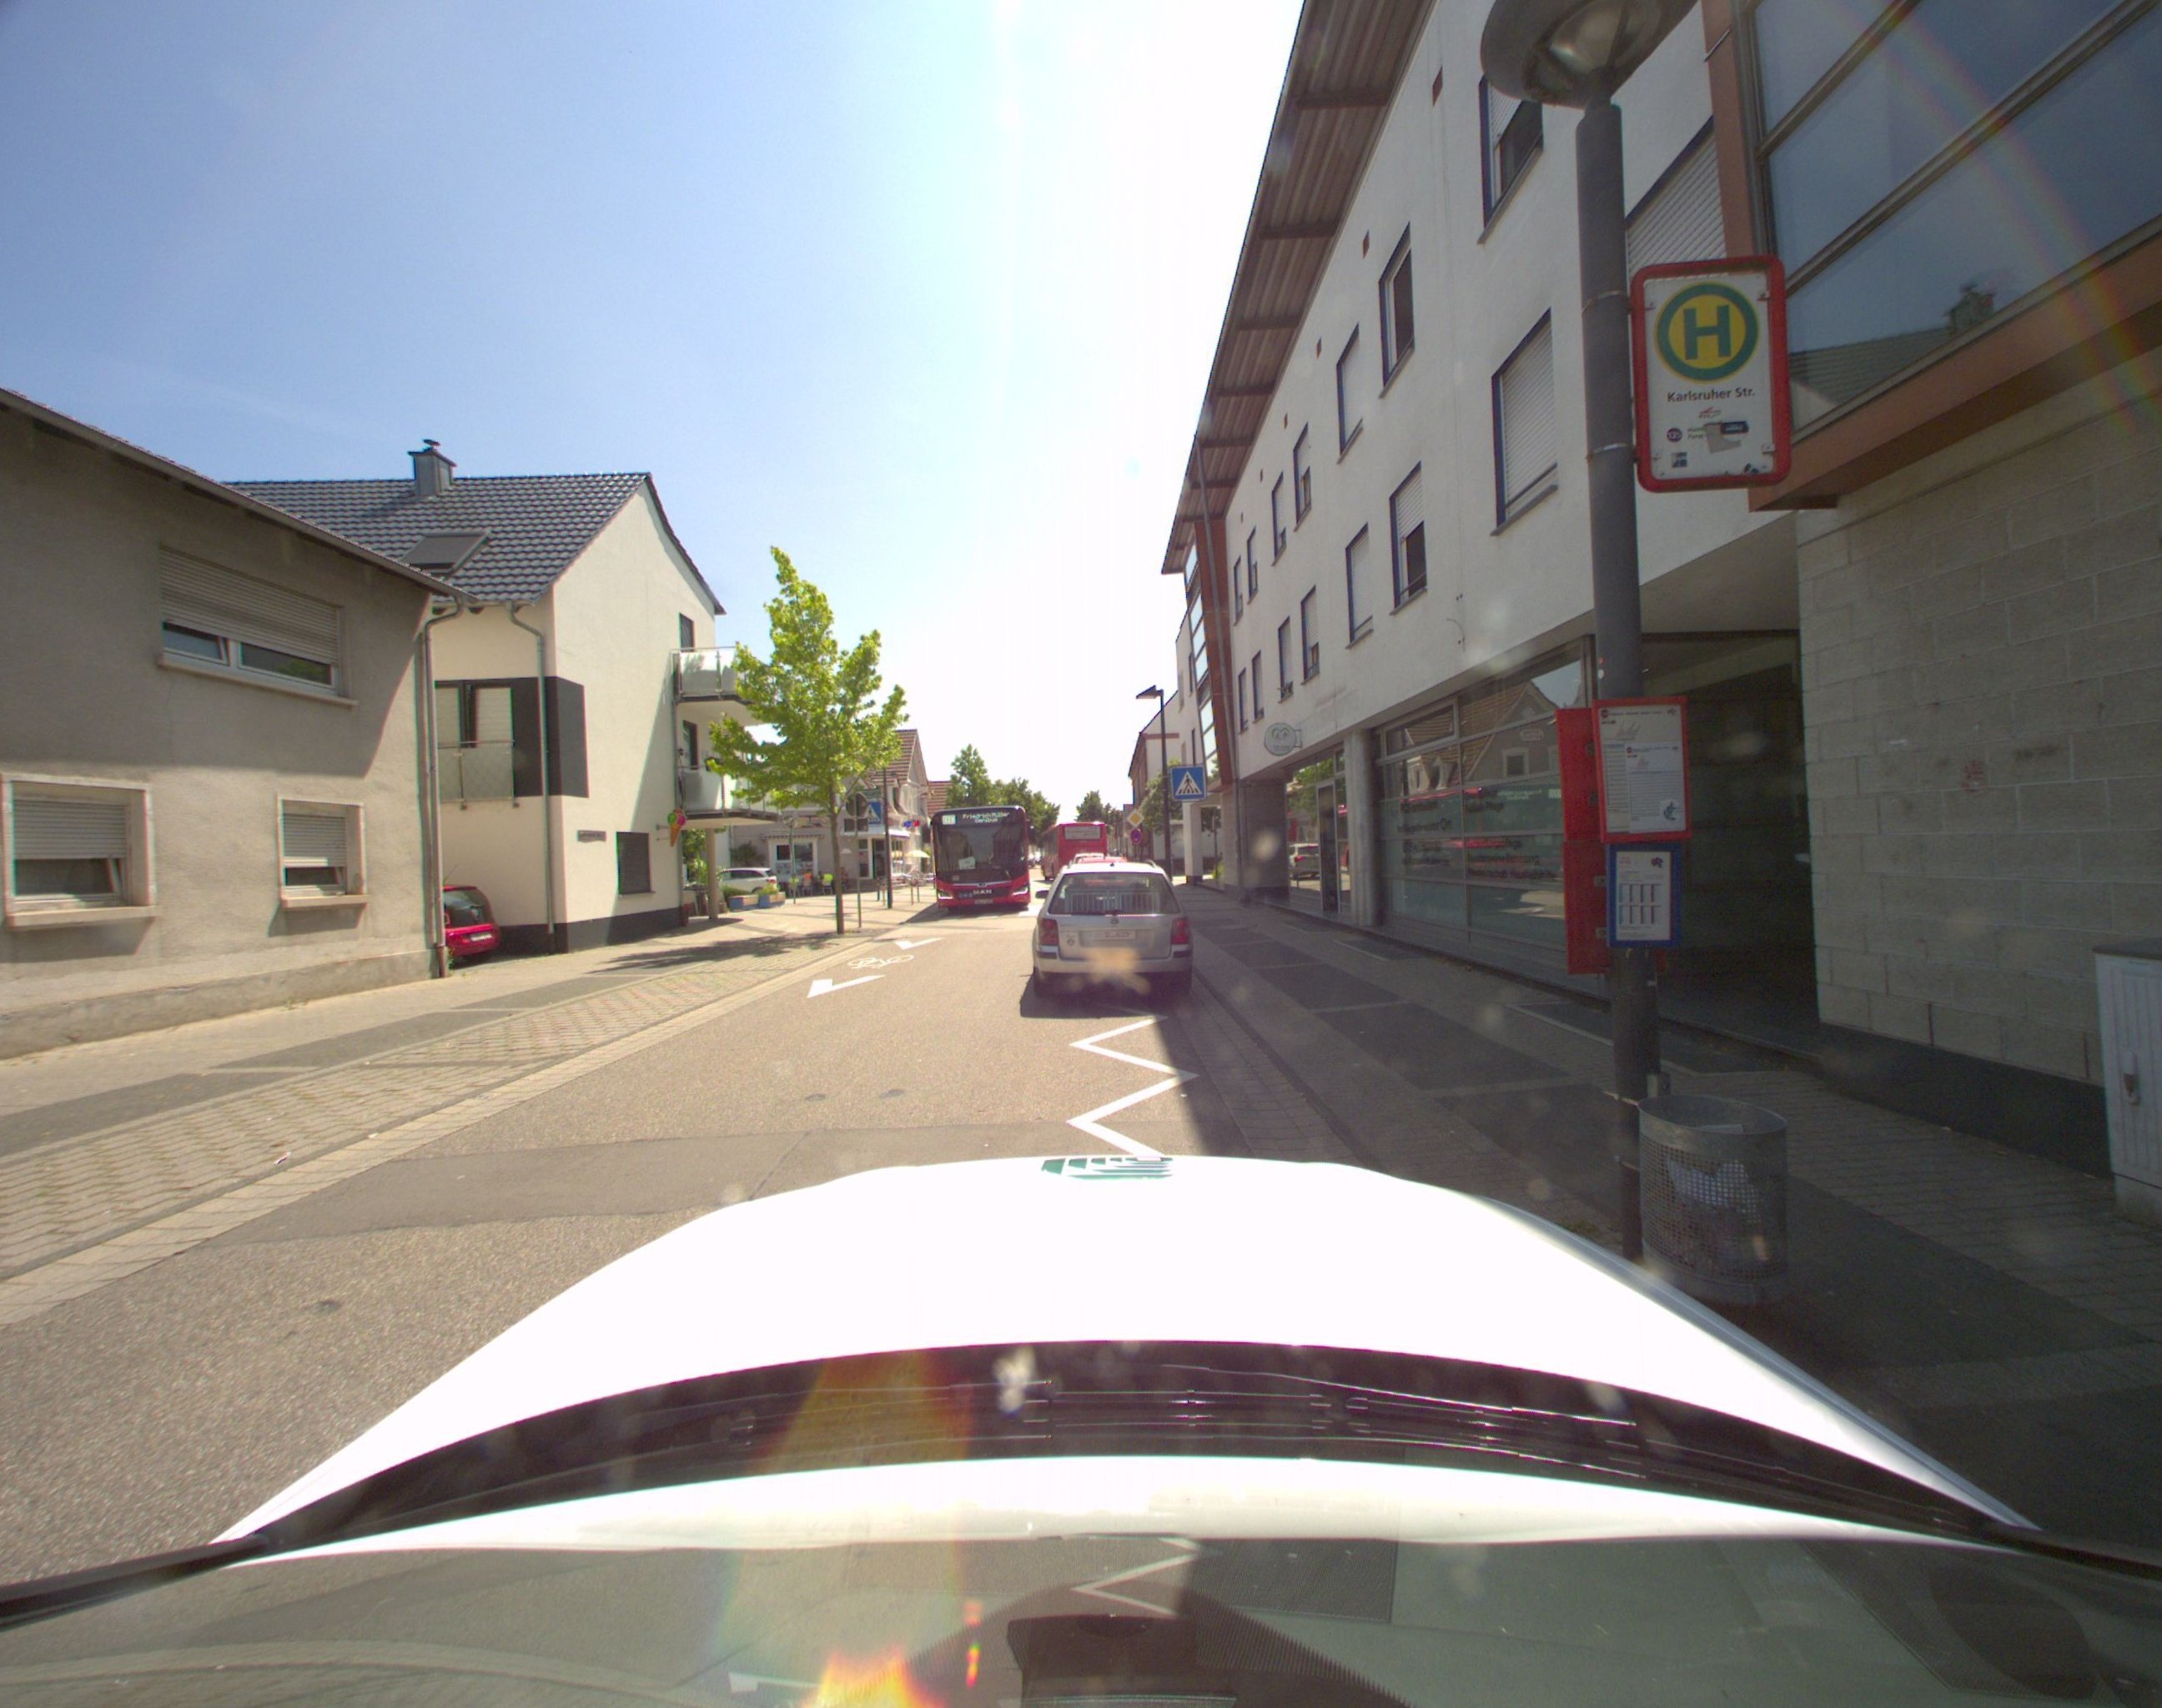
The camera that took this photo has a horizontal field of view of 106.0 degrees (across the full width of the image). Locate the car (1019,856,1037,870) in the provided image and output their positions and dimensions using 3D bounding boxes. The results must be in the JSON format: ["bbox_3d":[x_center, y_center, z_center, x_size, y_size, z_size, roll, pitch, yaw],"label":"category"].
[{"bbox_3d":[-6.309,1.071,97.399,1.806,1.559,3.999,-2,0,0],"label":"car"}]

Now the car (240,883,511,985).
[{"bbox_3d":[-11.982,1.318,14.007,3.109,1.443,1.584,-3,0,-6],"label":"car"}]

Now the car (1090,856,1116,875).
[{"bbox_3d":[1.603,0.813,59.727,1.714,1.309,3.625,-2,0,0],"label":"car"}]

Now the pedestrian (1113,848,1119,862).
[{"bbox_3d":[4.378,0.142,102.385,0.604,1.667,0.789,-2,0,-2],"label":"pedestrian"}]

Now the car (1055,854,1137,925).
[{"bbox_3d":[0.331,0.759,19.101,1.671,1.430,3.679,-2,0,0],"label":"car"}]

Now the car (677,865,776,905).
[{"bbox_3d":[-16.172,1.387,37.297,3.925,1.545,1.510,-3,2,-17],"label":"car"}]

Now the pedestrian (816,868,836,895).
[{"bbox_3d":[-12.415,1.354,39.689,0.639,1.289,0.780,1,-1,-43],"label":"pedestrian"}]

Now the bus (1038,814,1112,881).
[{"bbox_3d":[-0.627,-0.273,46.787,2.738,3.298,12.672,-2,0,-7],"label":"bus"}]

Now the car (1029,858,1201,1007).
[{"bbox_3d":[0.343,0.775,9.762,1.671,1.430,3.679,0,0,0],"label":"car"}]

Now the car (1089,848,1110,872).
[{"bbox_3d":[1.707,0.520,75.034,1.782,2.082,3.625,-2,0,0],"label":"car"}]

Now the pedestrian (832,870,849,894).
[{"bbox_3d":[-12.004,1.388,40.699,0.621,1.179,0.695,-2,0,-4],"label":"pedestrian"}]

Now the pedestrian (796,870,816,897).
[{"bbox_3d":[-13.444,1.414,39.794,0.639,1.289,0.780,1,-1,-43],"label":"pedestrian"}]

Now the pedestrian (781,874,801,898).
[{"bbox_3d":[-13.860,1.539,38.883,0.639,1.116,0.780,1,-1,-43],"label":"pedestrian"}]

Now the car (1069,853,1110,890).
[{"bbox_3d":[0.372,0.680,33.887,1.588,1.430,3.680,-1,0,1],"label":"car"}]

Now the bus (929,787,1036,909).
[{"bbox_3d":[-3.114,-0.140,30.571,2.663,3.123,17.784,-3,0,-3],"label":"bus"}]

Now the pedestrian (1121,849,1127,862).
[{"bbox_3d":[5.374,0.189,102.601,0.604,1.667,0.789,-2,0,-2],"label":"pedestrian"}]
